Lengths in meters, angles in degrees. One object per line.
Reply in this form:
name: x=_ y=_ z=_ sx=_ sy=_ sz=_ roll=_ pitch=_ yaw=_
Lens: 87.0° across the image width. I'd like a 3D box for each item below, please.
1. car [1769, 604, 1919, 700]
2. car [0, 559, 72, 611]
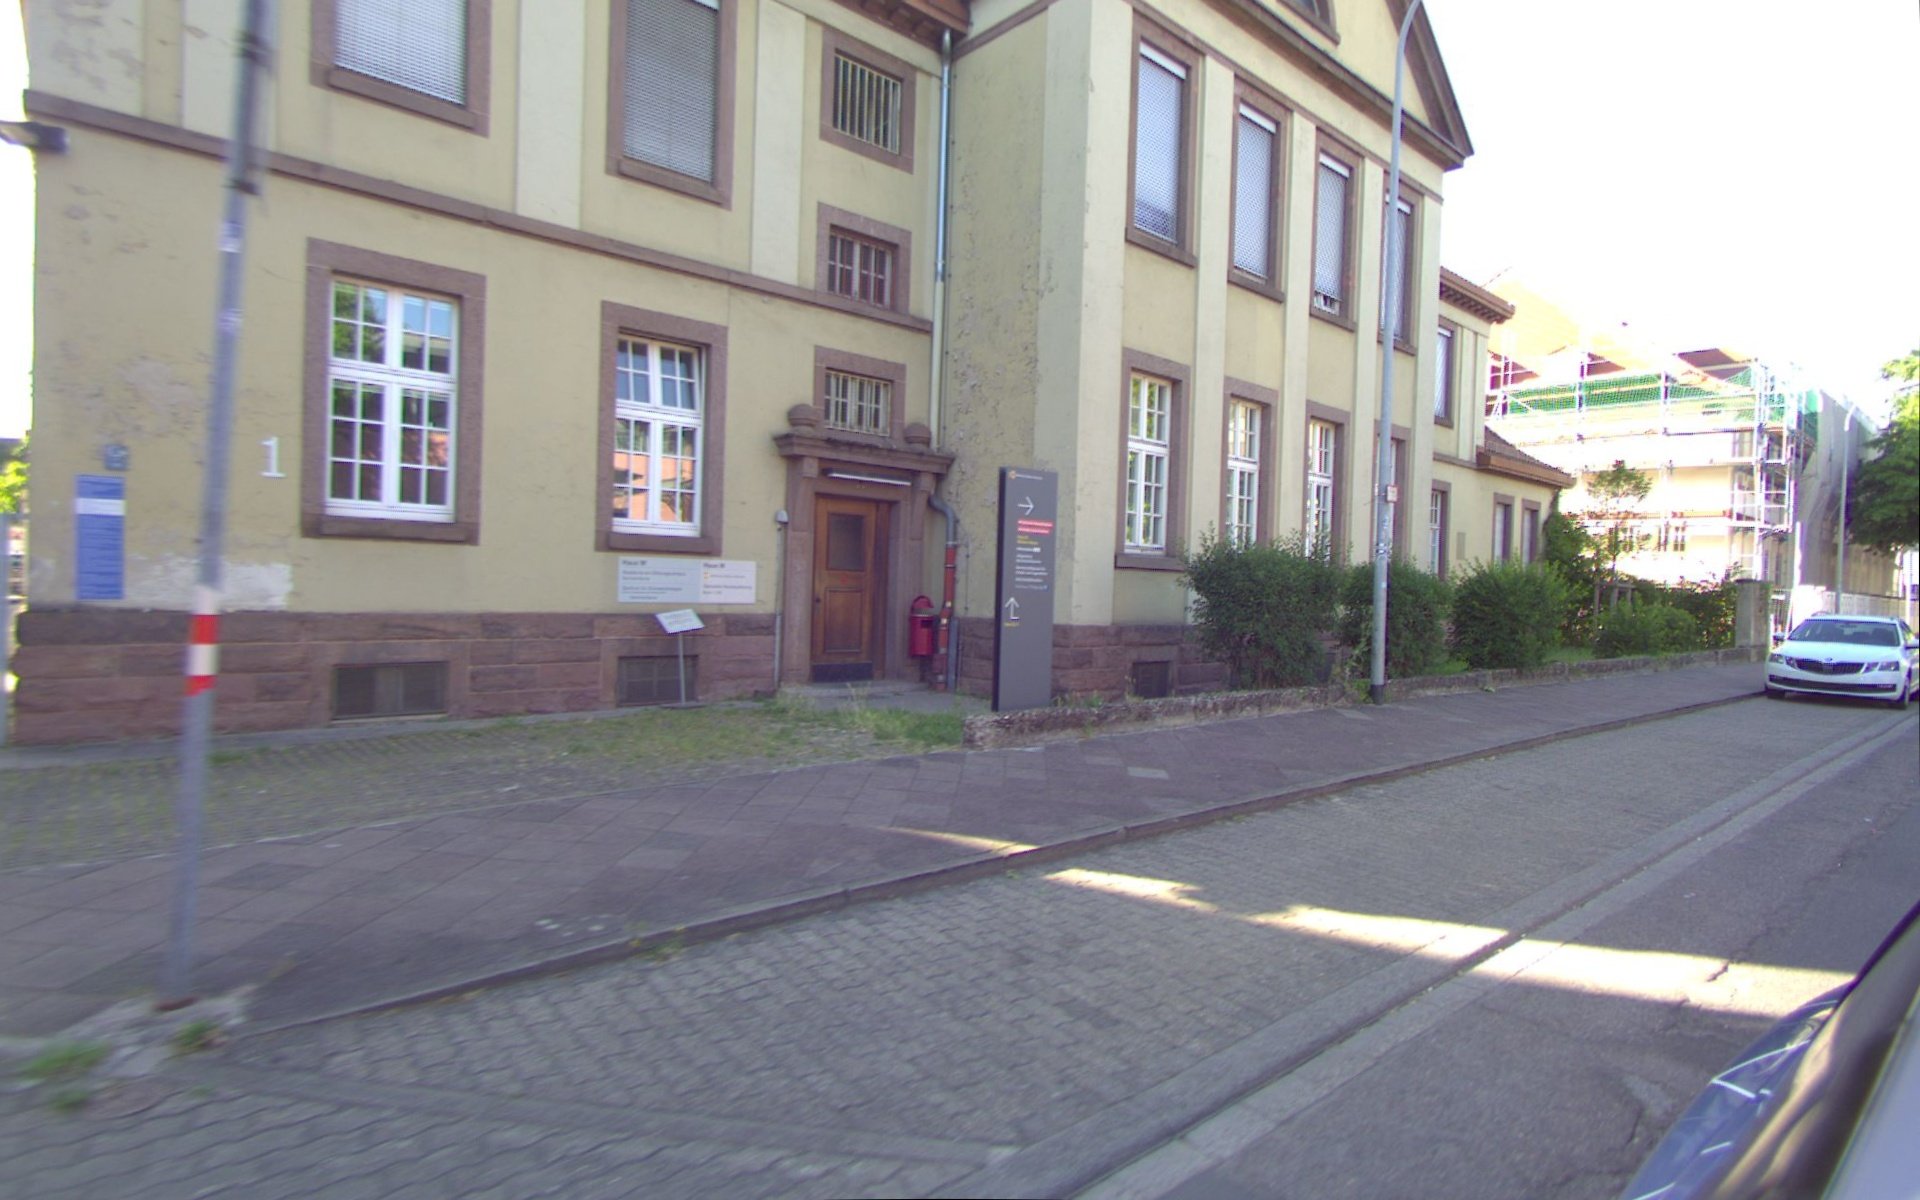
car: x=15.272 y=0.783 z=17.058 sx=4.419 sy=1.339 sz=1.835 roll=0 pitch=2 yaw=-42
car: x=-29.912 y=-0.509 z=32.259 sx=1.753 sy=1.576 sz=3.451 roll=1 pitch=1 yaw=-31
